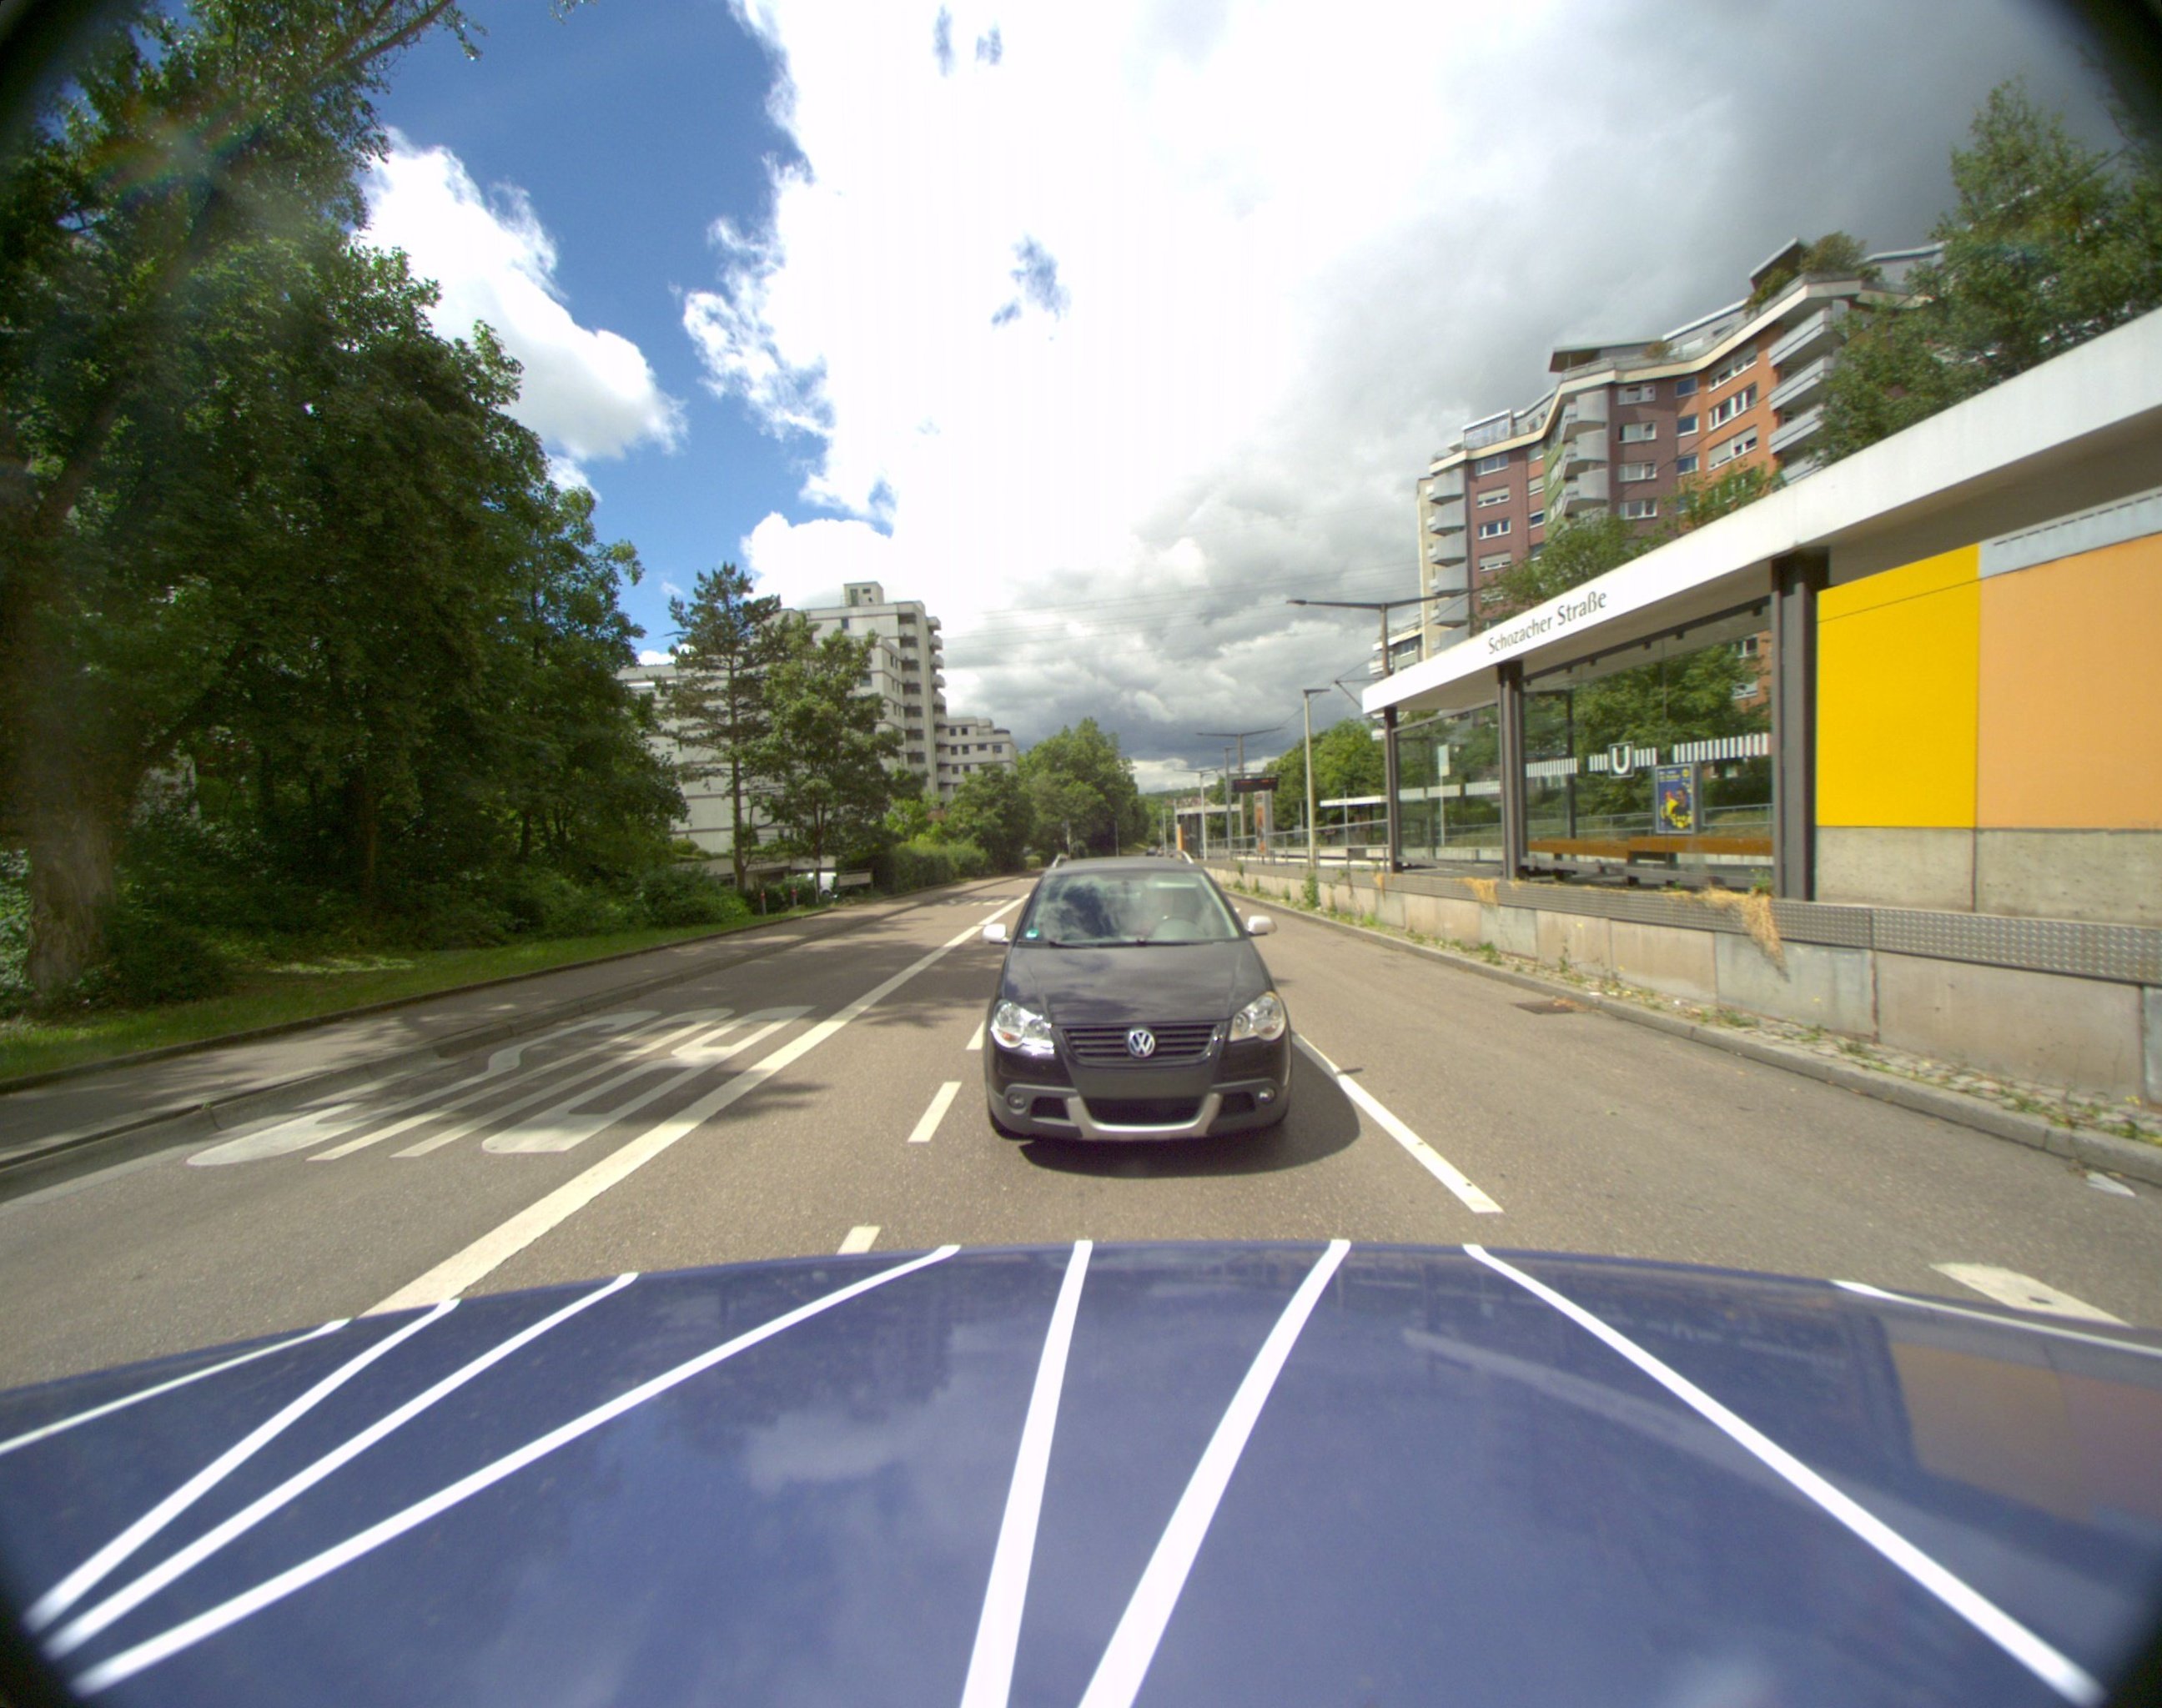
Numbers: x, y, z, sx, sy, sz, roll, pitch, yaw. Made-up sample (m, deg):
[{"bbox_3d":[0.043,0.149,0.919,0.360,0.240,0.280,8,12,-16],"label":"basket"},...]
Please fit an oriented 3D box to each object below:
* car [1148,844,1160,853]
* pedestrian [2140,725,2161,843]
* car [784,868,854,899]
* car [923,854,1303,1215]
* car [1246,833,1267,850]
[{"bbox_3d":[12.709,-0.939,132.878,1.821,1.377,4.065,-2,1,2],"label":"car"},{"bbox_3d":[15.812,-1.022,10.998,0.353,1.703,0.427,-2,1,2],"label":"pedestrian"},{"bbox_3d":[-19.890,2.229,57.801,4.543,2.002,2.001,-2,1,7],"label":"car"},{"bbox_3d":[0.232,0.823,5.403,1.641,1.521,4.000,-2,1,3],"label":"car"},{"bbox_3d":[22.155,-1.598,96.145,1.737,2.002,4.000,-2,1,2],"label":"car"}]
